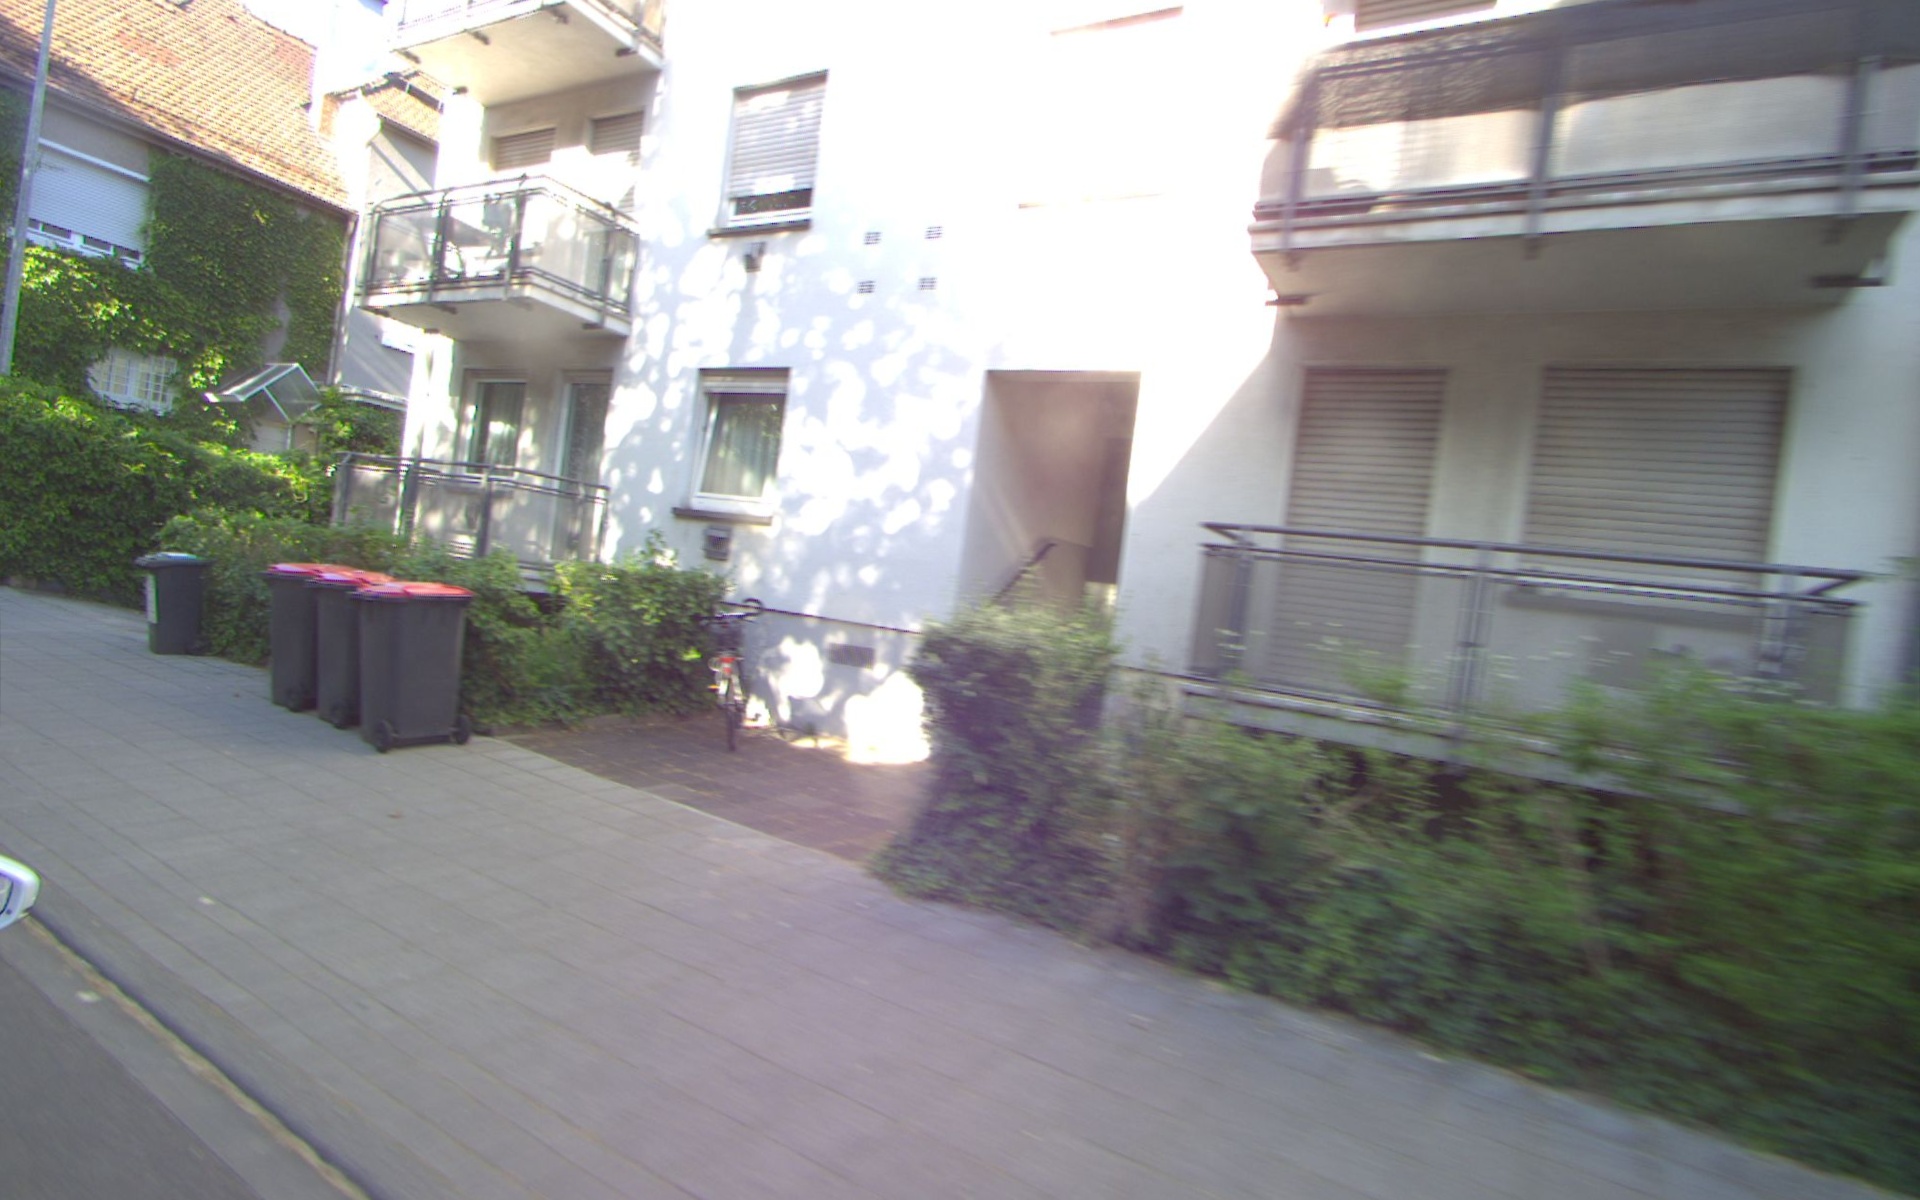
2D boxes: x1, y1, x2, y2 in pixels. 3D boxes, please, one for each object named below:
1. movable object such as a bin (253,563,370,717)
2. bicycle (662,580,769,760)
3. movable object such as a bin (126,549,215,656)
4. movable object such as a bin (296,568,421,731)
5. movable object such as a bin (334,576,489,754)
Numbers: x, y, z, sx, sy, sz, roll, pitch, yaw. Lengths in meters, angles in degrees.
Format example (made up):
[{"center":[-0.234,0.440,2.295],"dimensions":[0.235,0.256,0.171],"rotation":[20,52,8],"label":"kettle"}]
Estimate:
[{"center":[-4.885,0.285,7.576],"dimensions":[0.608,1.059,0.483],"rotation":[7,4,31],"label":"movable object such as a bin"},{"center":[-1.928,0.504,8.110],"dimensions":[0.633,1.202,1.574],"rotation":[6,3,-11],"label":"bicycle"},{"center":[-7.444,0.023,9.484],"dimensions":[0.564,0.928,0.502],"rotation":[8,4,35],"label":"movable object such as a bin"},{"center":[-4.309,0.340,7.211],"dimensions":[0.646,1.059,0.483],"rotation":[7,4,31],"label":"movable object such as a bin"},{"center":[-3.674,0.411,6.746],"dimensions":[0.695,1.059,0.597],"rotation":[7,4,31],"label":"movable object such as a bin"}]
